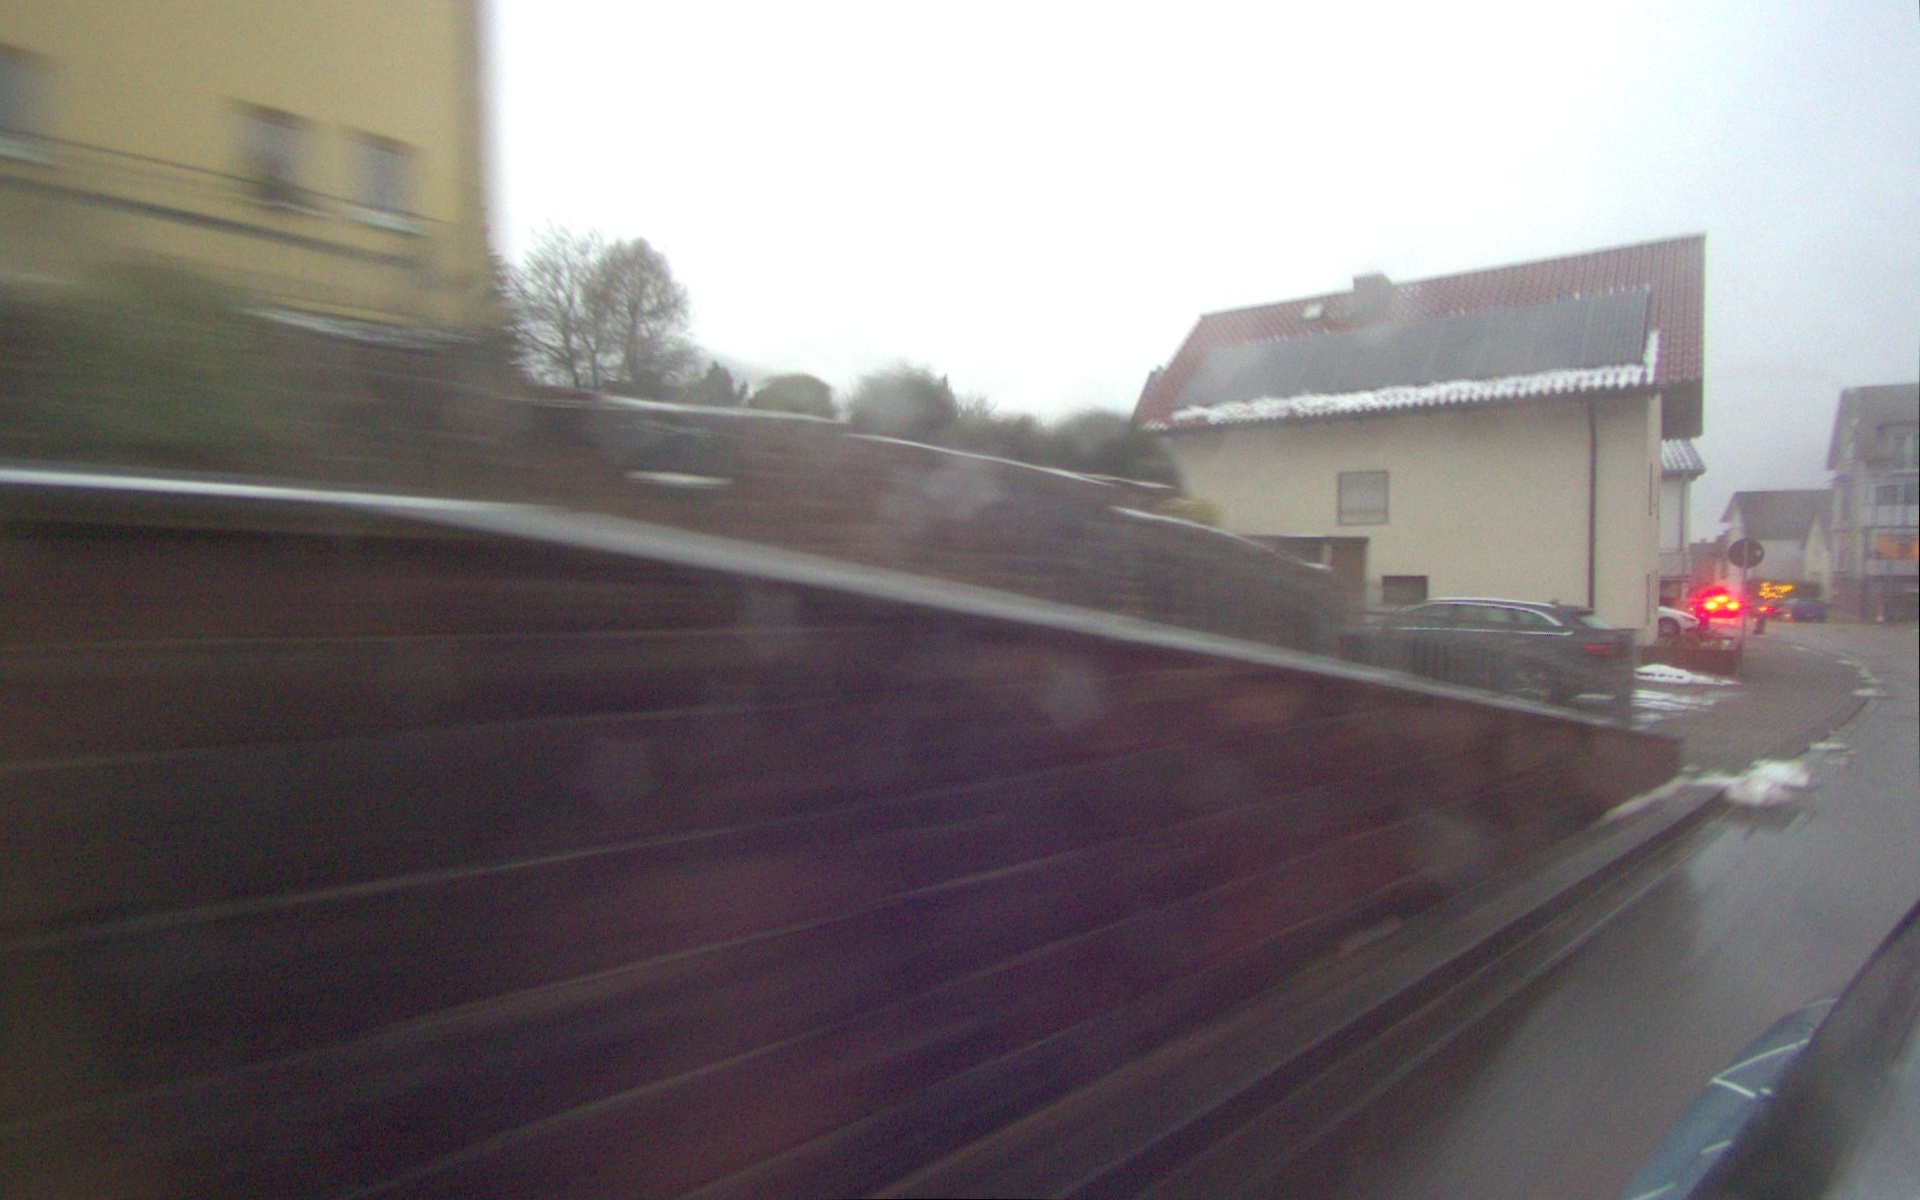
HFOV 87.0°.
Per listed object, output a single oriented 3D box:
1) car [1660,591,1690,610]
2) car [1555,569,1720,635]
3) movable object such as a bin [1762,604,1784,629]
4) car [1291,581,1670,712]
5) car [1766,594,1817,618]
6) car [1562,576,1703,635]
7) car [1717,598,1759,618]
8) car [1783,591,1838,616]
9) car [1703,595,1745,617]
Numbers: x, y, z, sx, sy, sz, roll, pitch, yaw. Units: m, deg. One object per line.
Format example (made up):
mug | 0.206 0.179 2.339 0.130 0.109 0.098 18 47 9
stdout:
car | 72.389 0.087 102.493 1.759 1.815 4.092 2 0 25
car | 22.200 0.006 33.373 4.267 1.473 1.759 11 7 32
movable object such as a bin | 34.168 0.686 42.541 0.612 0.957 0.588 5 4 34
car | 7.397 0.543 14.694 4.506 1.461 1.969 4 2 44
car | 52.631 0.351 64.120 1.653 1.435 3.657 -1 0 26
car | 24.276 0.155 36.724 3.970 1.473 1.673 10 5 29
car | 60.593 0.577 78.896 1.722 1.462 4.399 2 1 26
car | 50.752 0.226 60.462 1.657 1.427 3.877 1 0 27
car | 55.936 0.411 74.163 1.763 1.514 4.337 2 1 28
